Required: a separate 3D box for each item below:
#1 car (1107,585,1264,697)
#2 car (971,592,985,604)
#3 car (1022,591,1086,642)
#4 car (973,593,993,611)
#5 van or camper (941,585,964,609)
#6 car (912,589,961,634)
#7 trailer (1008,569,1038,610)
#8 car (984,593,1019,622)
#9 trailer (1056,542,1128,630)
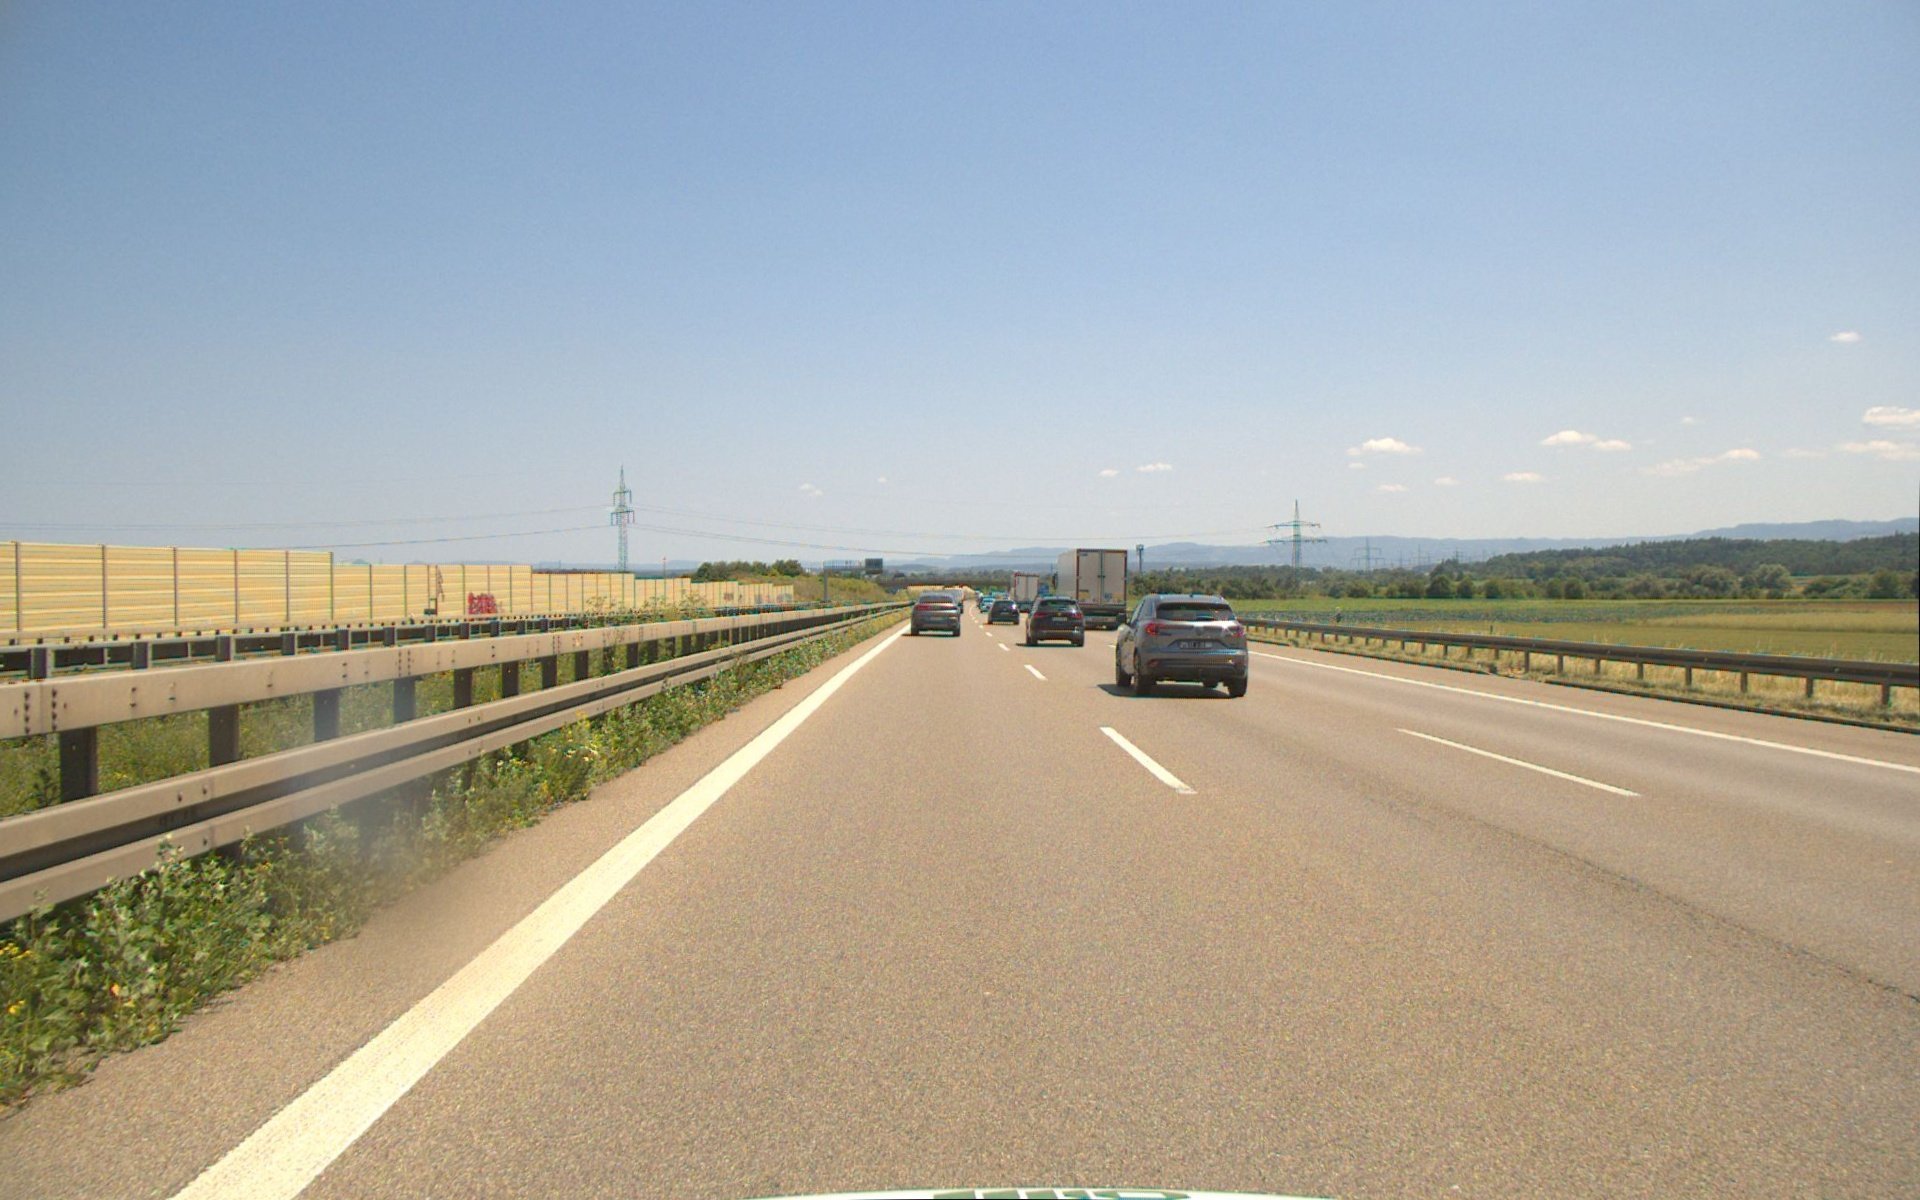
[{"bbox_3d":[3.686,0.648,27.821,1.814,1.677,4.642,1,0,-2],"label":"car"},{"bbox_3d":[2.615,-0.263,242.334,1.952,1.712,4.000,1,0,1],"label":"car"},{"bbox_3d":[3.065,0.544,54.551,1.760,1.589,3.822,1,0,-2],"label":"car"},{"bbox_3d":[2.285,0.189,163.152,1.952,1.712,4.000,1,0,1],"label":"car"},{"bbox_3d":[-0.687,-0.261,156.203,2.067,2.250,5.266,1,0,1],"label":"van or camper"},{"bbox_3d":[-0.956,0.450,65.494,1.814,1.693,3.733,1,0,-2],"label":"car"},{"bbox_3d":[6.848,-1.094,182.026,2.882,4.271,13.597,1,0,1],"label":"trailer"},{"bbox_3d":[2.399,0.435,96.799,1.893,1.602,4.934,1,0,0],"label":"car"},{"bbox_3d":[6.913,-0.680,88.380,2.809,4.294,13.294,1,0,0],"label":"trailer"}]
